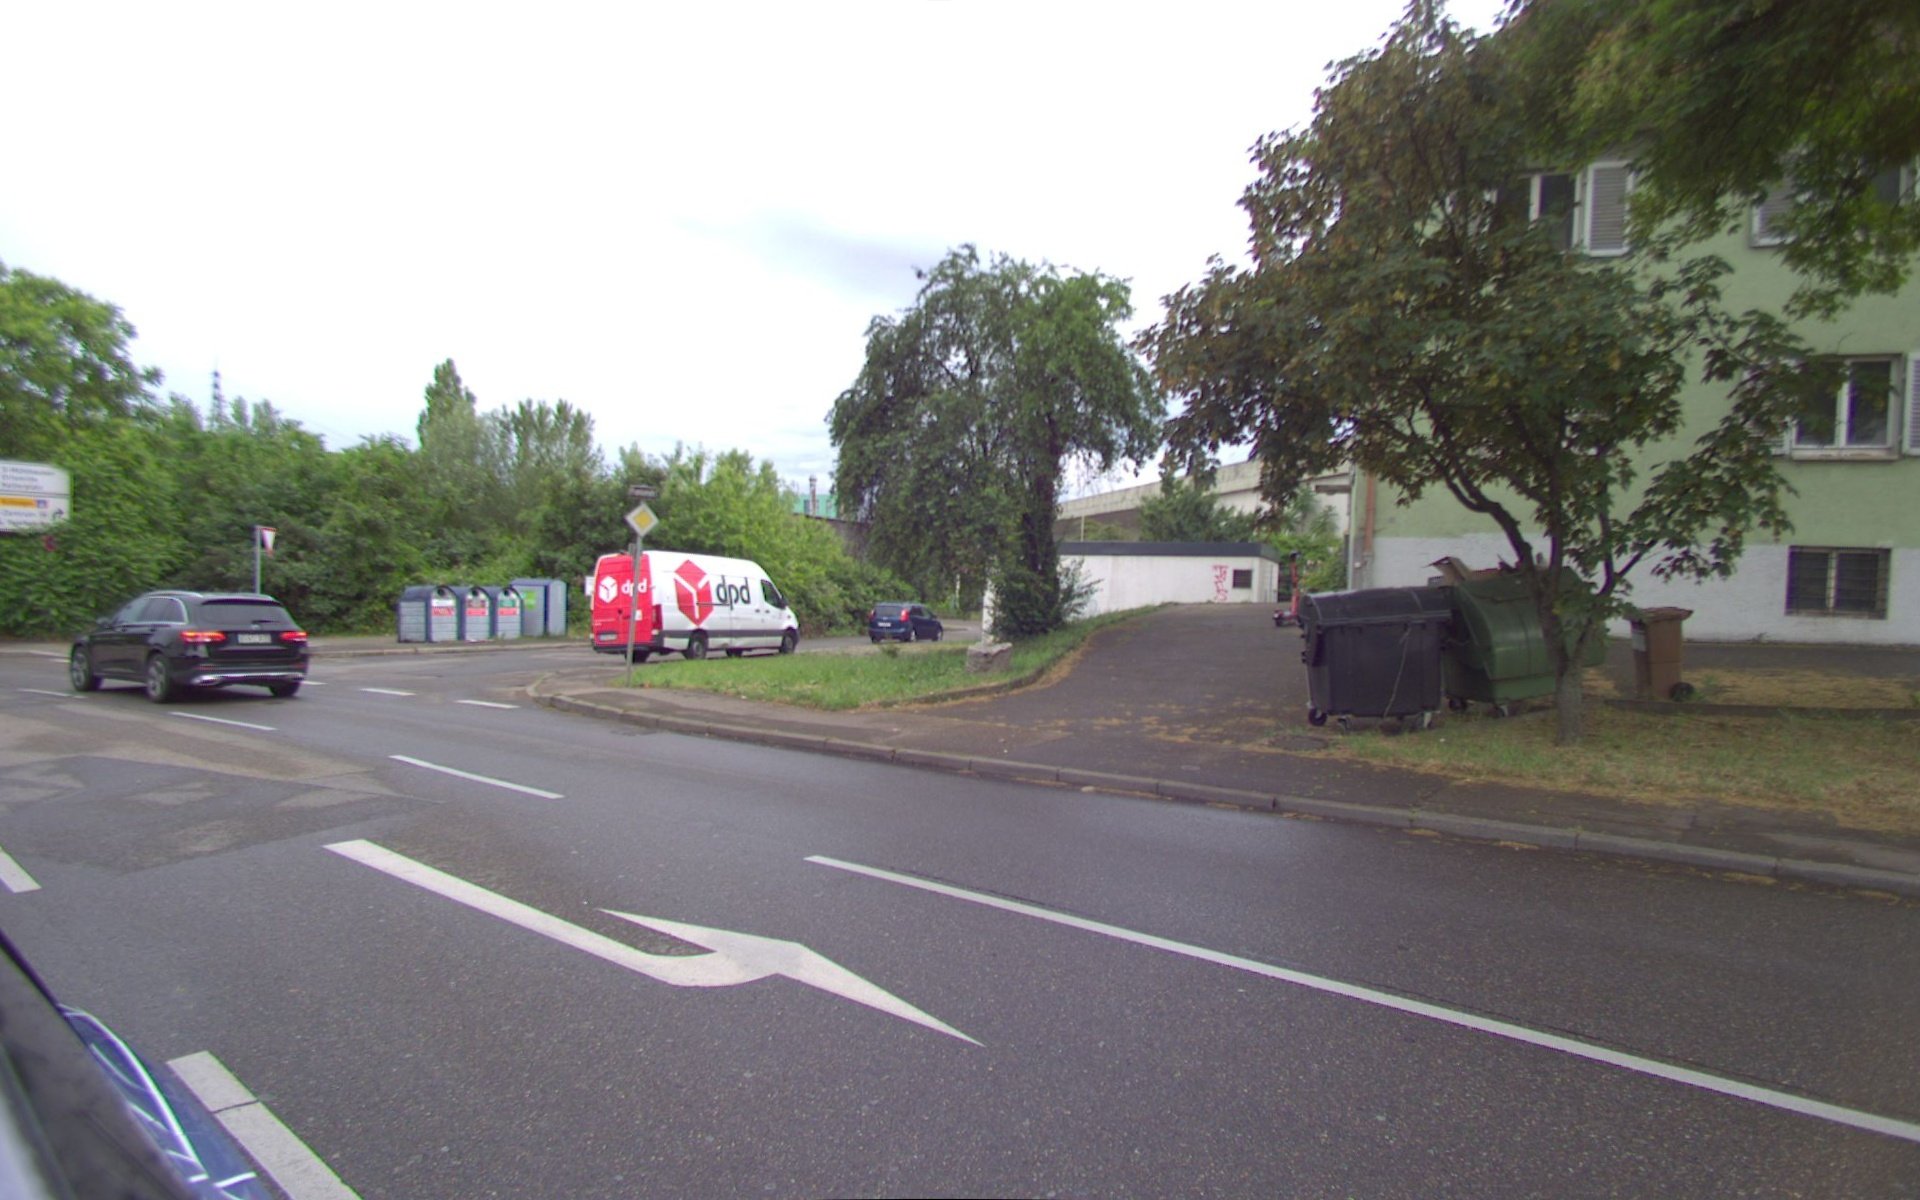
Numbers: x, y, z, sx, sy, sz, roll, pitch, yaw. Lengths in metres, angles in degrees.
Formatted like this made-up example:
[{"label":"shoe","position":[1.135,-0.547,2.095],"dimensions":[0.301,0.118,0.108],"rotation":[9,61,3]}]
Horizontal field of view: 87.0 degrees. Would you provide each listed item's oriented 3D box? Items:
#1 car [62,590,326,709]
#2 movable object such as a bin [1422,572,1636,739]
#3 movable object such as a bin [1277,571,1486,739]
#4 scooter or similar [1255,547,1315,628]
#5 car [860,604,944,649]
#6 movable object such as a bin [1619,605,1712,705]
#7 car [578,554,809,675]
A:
[{"label":"car","position":[-12.125,0.697,15.959],"dimensions":[4.420,1.638,1.900],"rotation":[0,-1,32]},{"label":"movable object such as a bin","position":[5.703,0.513,10.225],"dimensions":[1.440,1.448,1.102],"rotation":[-5,3,-6]},{"label":"movable object such as a bin","position":[4.247,0.504,10.334],"dimensions":[1.440,1.448,1.296],"rotation":[-5,3,-6]},{"label":"scooter or similar","position":[5.523,-0.239,17.140],"dimensions":[0.529,1.283,1.507],"rotation":[1,4,35]},{"label":"car","position":[-2.232,0.997,40.402],"dimensions":[1.984,1.642,4.228],"rotation":[1,1,18]},{"label":"movable object such as a bin","position":[7.204,0.536,10.339],"dimensions":[0.723,0.964,0.551],"rotation":[1,0,41]},{"label":"car","position":[-6.512,0.300,25.912],"dimensions":[2.246,2.675,6.777],"rotation":[1,0,20]}]
